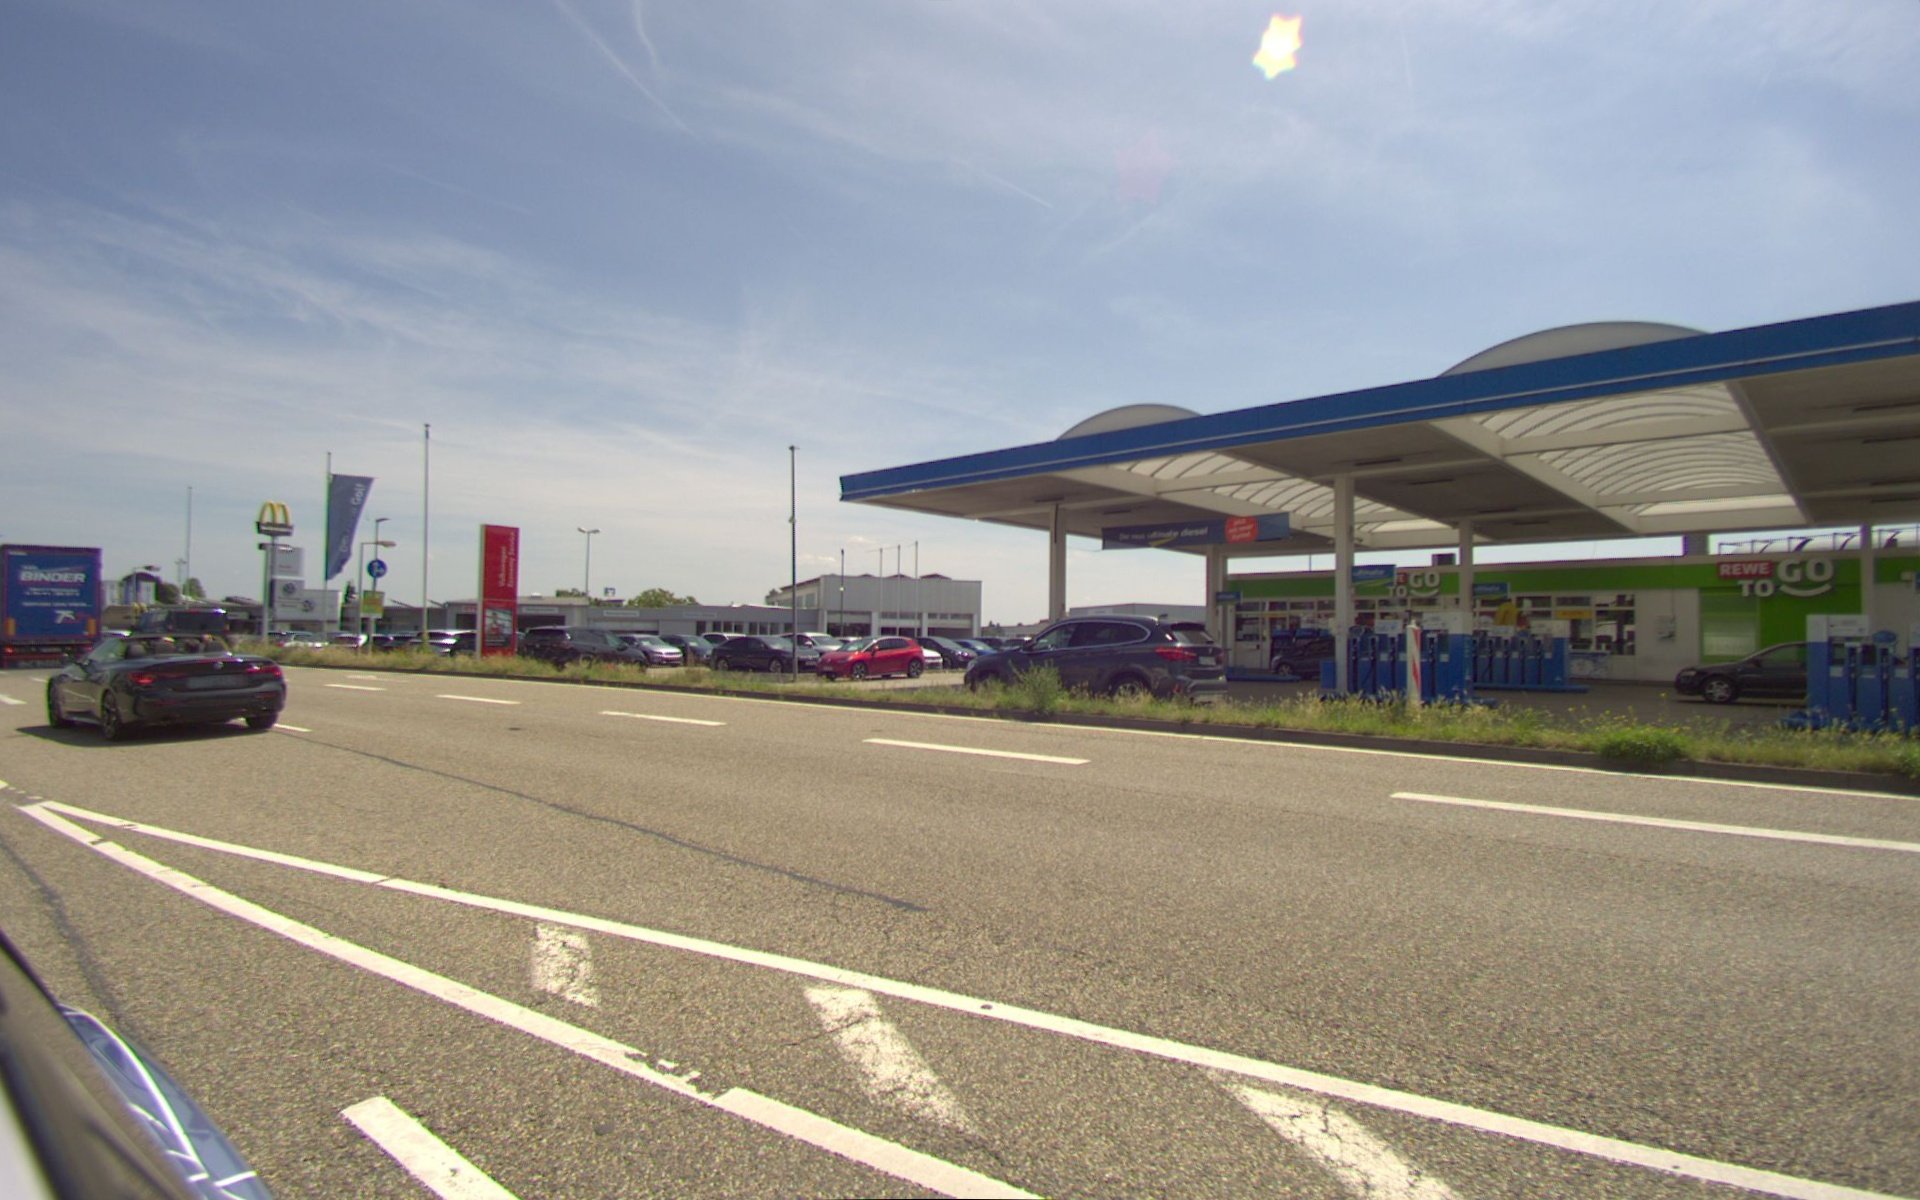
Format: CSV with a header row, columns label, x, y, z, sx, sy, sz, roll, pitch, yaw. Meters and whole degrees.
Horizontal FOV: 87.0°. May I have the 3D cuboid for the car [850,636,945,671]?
label,x,y,z,sx,sy,sz,roll,pitch,yaw
car,-2.725,2.275,43.522,3.994,1.406,1.690,-1,-2,38

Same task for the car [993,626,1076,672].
label,x,y,z,sx,sy,sz,roll,pitch,yaw
car,3.388,2.238,45.462,1.860,1.937,3.949,-2,-5,38

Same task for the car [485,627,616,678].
label,x,y,z,sx,sy,sz,roll,pitch,yaw
car,-12.993,1.628,32.386,1.980,1.530,3.984,-1,-2,12

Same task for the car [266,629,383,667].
label,x,y,z,sx,sy,sz,roll,pitch,yaw
car,-26.305,1.977,42.055,1.762,1.466,4.249,0,-2,9

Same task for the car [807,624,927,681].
label,x,y,z,sx,sy,sz,roll,pitch,yaw
car,-3.285,1.870,36.228,2.000,1.918,3.943,-2,-3,43

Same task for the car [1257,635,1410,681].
label,x,y,z,sx,sy,sz,roll,pitch,yaw
car,12.386,1.886,33.657,4.379,1.389,1.973,-2,-2,40

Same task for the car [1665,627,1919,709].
label,x,y,z,sx,sy,sz,roll,pitch,yaw
car,17.481,1.407,21.336,4.108,1.489,1.584,-1,-6,44

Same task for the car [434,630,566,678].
label,x,y,z,sx,sy,sz,roll,pitch,yaw
car,-15.077,1.733,33.408,1.804,1.497,3.978,-1,-2,16

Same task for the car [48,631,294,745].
label,x,y,z,sx,sy,sz,roll,pitch,yaw
car,-11.060,1.121,14.091,4.172,1.280,1.830,-2,0,40

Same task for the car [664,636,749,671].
label,x,y,z,sx,sy,sz,roll,pitch,yaw
car,-10.950,2.289,43.973,1.981,1.409,3.981,-1,-2,14

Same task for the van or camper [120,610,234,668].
label,x,y,z,sx,sy,sz,roll,pitch,yaw
van or camper,-28.487,1.404,36.772,5.375,1.950,1.975,-1,-2,38

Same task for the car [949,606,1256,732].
label,x,y,z,sx,sy,sz,roll,pitch,yaw
car,2.144,1.007,16.077,4.565,1.732,1.810,-2,-2,40

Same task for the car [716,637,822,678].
label,x,y,z,sx,sy,sz,roll,pitch,yaw
car,-7.210,2.115,38.038,3.994,1.452,1.690,-1,-2,38

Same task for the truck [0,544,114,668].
label,x,y,z,sx,sy,sz,roll,pitch,yaw
truck,-36.214,0.430,38.181,16.976,3.919,2.817,-2,-3,37

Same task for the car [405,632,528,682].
label,x,y,z,sx,sy,sz,roll,pitch,yaw
car,-17.042,1.947,35.171,1.762,1.598,4.170,0,-2,9

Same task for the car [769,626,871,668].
label,x,y,z,sx,sy,sz,roll,pitch,yaw
car,-5.514,1.819,39.762,3.994,1.547,1.690,-1,-2,38

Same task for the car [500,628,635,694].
label,x,y,z,sx,sy,sz,roll,pitch,yaw
car,-11.092,1.678,28.903,1.822,1.717,3.988,0,-1,9

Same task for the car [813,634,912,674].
label,x,y,z,sx,sy,sz,roll,pitch,yaw
car,-4.050,2.178,41.722,3.994,1.547,1.690,-1,-2,38
